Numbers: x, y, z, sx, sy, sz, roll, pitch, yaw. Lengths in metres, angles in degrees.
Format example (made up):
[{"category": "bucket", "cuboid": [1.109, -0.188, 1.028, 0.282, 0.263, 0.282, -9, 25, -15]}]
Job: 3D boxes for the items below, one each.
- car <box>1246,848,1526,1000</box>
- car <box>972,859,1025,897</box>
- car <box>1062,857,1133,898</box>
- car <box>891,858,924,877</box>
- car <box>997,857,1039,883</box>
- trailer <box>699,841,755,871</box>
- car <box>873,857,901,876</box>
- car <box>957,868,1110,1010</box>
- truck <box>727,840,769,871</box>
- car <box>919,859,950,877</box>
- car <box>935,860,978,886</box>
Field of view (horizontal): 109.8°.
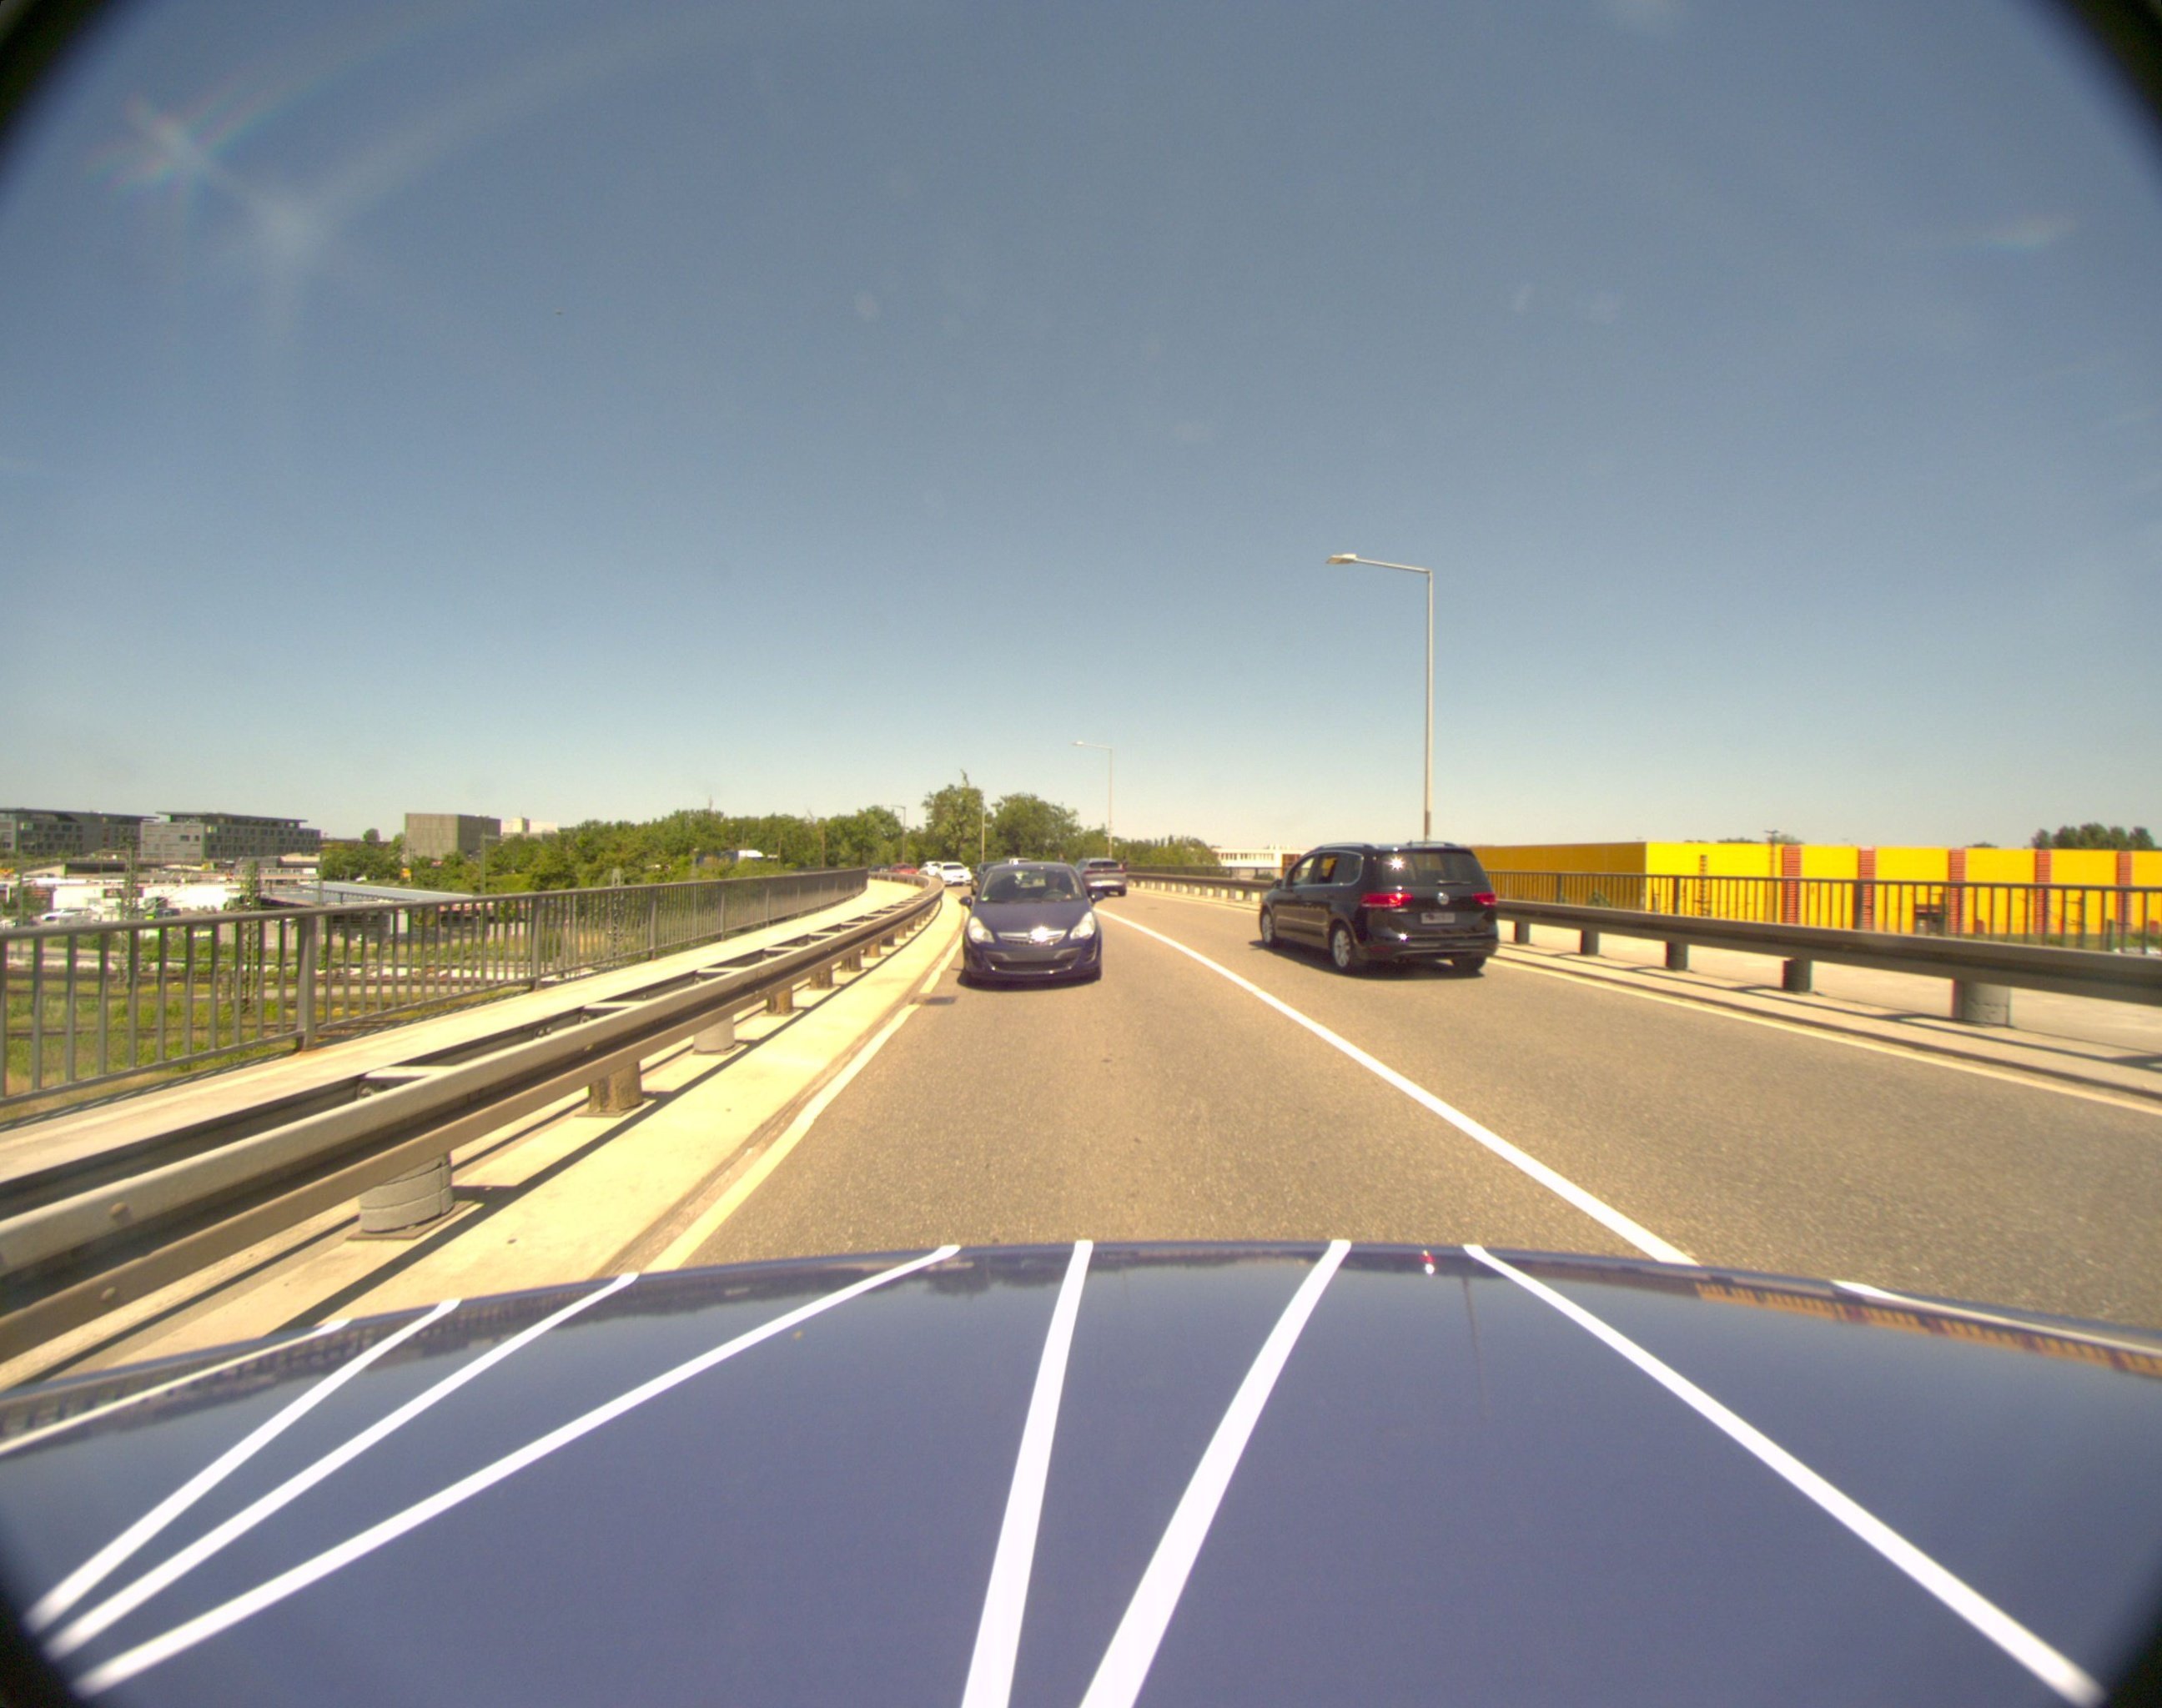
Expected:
[{"category": "car", "cuboid": [3.817, 0.760, 10.431, 1.777, 1.616, 4.251, -1, 0, -6]}, {"category": "car", "cuboid": [-3.564, 0.959, 32.170, 1.796, 1.446, 4.518, -2, 0, -11]}, {"category": "car", "cuboid": [0.565, 0.866, 30.255, 1.782, 1.499, 4.188, -1, 0, -14]}, {"category": "car", "cuboid": [-14.463, 1.098, 63.309, 1.798, 1.446, 4.514, -1, 0, -24]}, {"category": "car", "cuboid": [-4.050, 0.980, 48.513, 1.701, 1.598, 3.993, -1, 0, -19]}, {"category": "trailer", "cuboid": [-52.870, 0.384, 113.324, 12.677, 4.210, 2.707, -2, 1, 42]}, {"category": "car", "cuboid": [-21.720, 1.412, 84.970, 2.002, 2.002, 3.992, -4, 0, -28]}, {"category": "car", "cuboid": [-0.782, 0.966, 10.383, 1.646, 1.431, 3.997, -2, 0, -8]}, {"category": "truck", "cuboid": [-47.620, 0.218, 108.601, 6.820, 4.204, 2.702, -2, 1, 42]}, {"category": "car", "cuboid": [-13.086, 1.227, 67.747, 1.702, 1.598, 3.992, -1, 0, -26]}, {"category": "car", "cuboid": [-7.666, 1.110, 46.480, 1.797, 1.446, 4.516, -2, 0, -19]}]
